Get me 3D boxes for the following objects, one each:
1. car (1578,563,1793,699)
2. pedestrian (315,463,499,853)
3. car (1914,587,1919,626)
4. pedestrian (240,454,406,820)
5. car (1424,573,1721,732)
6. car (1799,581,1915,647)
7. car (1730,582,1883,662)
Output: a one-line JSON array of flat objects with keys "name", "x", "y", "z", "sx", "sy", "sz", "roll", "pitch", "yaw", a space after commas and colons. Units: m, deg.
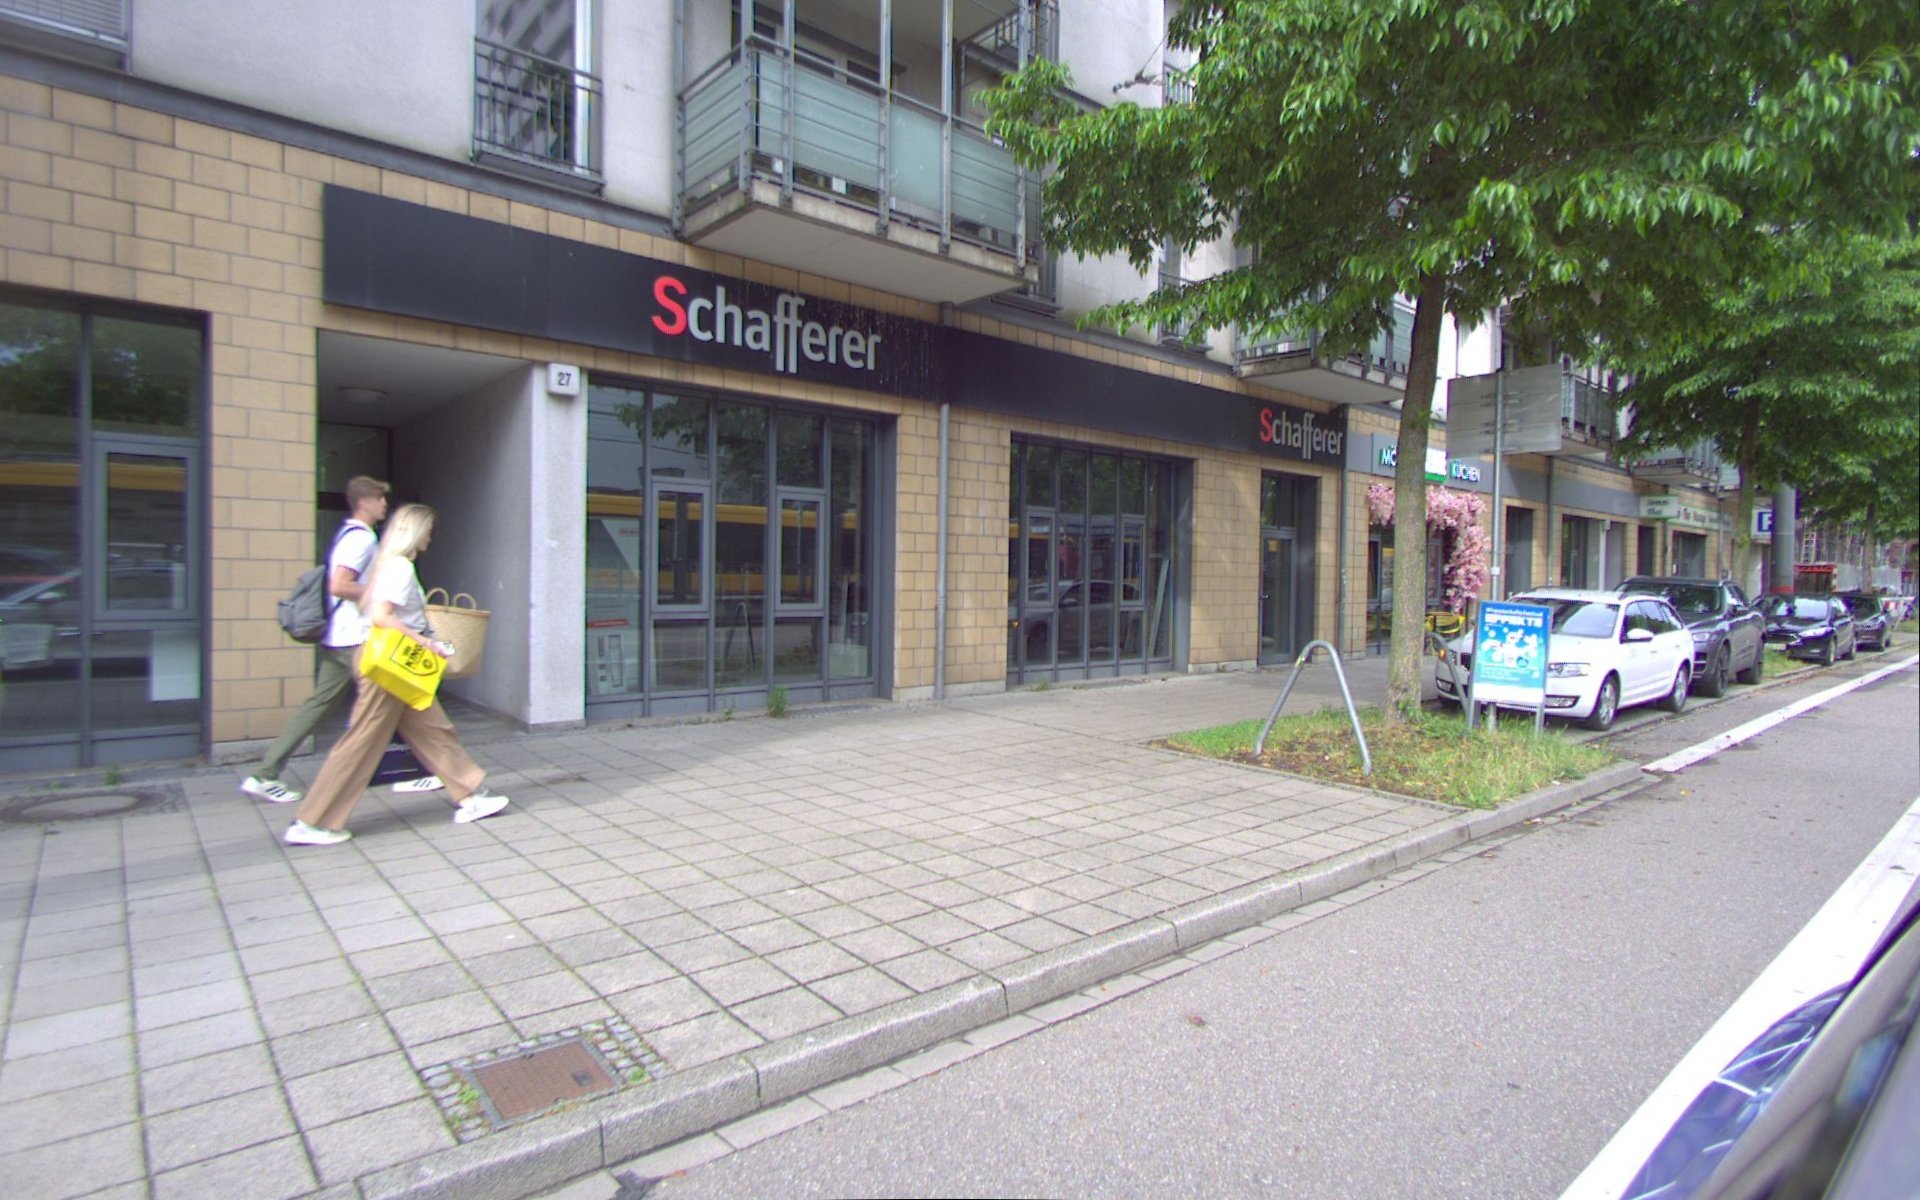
[{"name": "car", "x": 11.337, "y": 0.360, "z": 15.680, "sx": 4.632, "sy": 1.737, "sz": 1.715, "roll": -1, "pitch": 4, "yaw": -43}, {"name": "pedestrian", "x": -2.841, "y": 0.260, "z": 5.196, "sx": 0.724, "sy": 1.828, "sz": 0.617, "roll": 0, "pitch": 2, "yaw": -39}, {"name": "car", "x": 39.597, "y": 0.271, "z": 40.414, "sx": 4.206, "sy": 1.478, "sz": 1.754, "roll": -1, "pitch": 4, "yaw": -42}, {"name": "pedestrian", "x": -3.638, "y": 0.181, "z": 5.776, "sx": 0.724, "sy": 1.914, "sz": 0.677, "roll": 0, "pitch": 2, "yaw": -39}, {"name": "car", "x": 7.477, "y": 0.491, "z": 12.183, "sx": 4.312, "sy": 1.517, "sz": 1.681, "roll": -1, "pitch": 4, "yaw": -40}, {"name": "car", "x": 23.670, "y": 0.305, "z": 26.655, "sx": 4.315, "sy": 1.472, "sz": 1.800, "roll": -1, "pitch": 5, "yaw": -43}, {"name": "car", "x": 18.065, "y": 0.391, "z": 21.527, "sx": 4.329, "sy": 1.459, "sz": 1.681, "roll": -1, "pitch": 4, "yaw": -40}]
